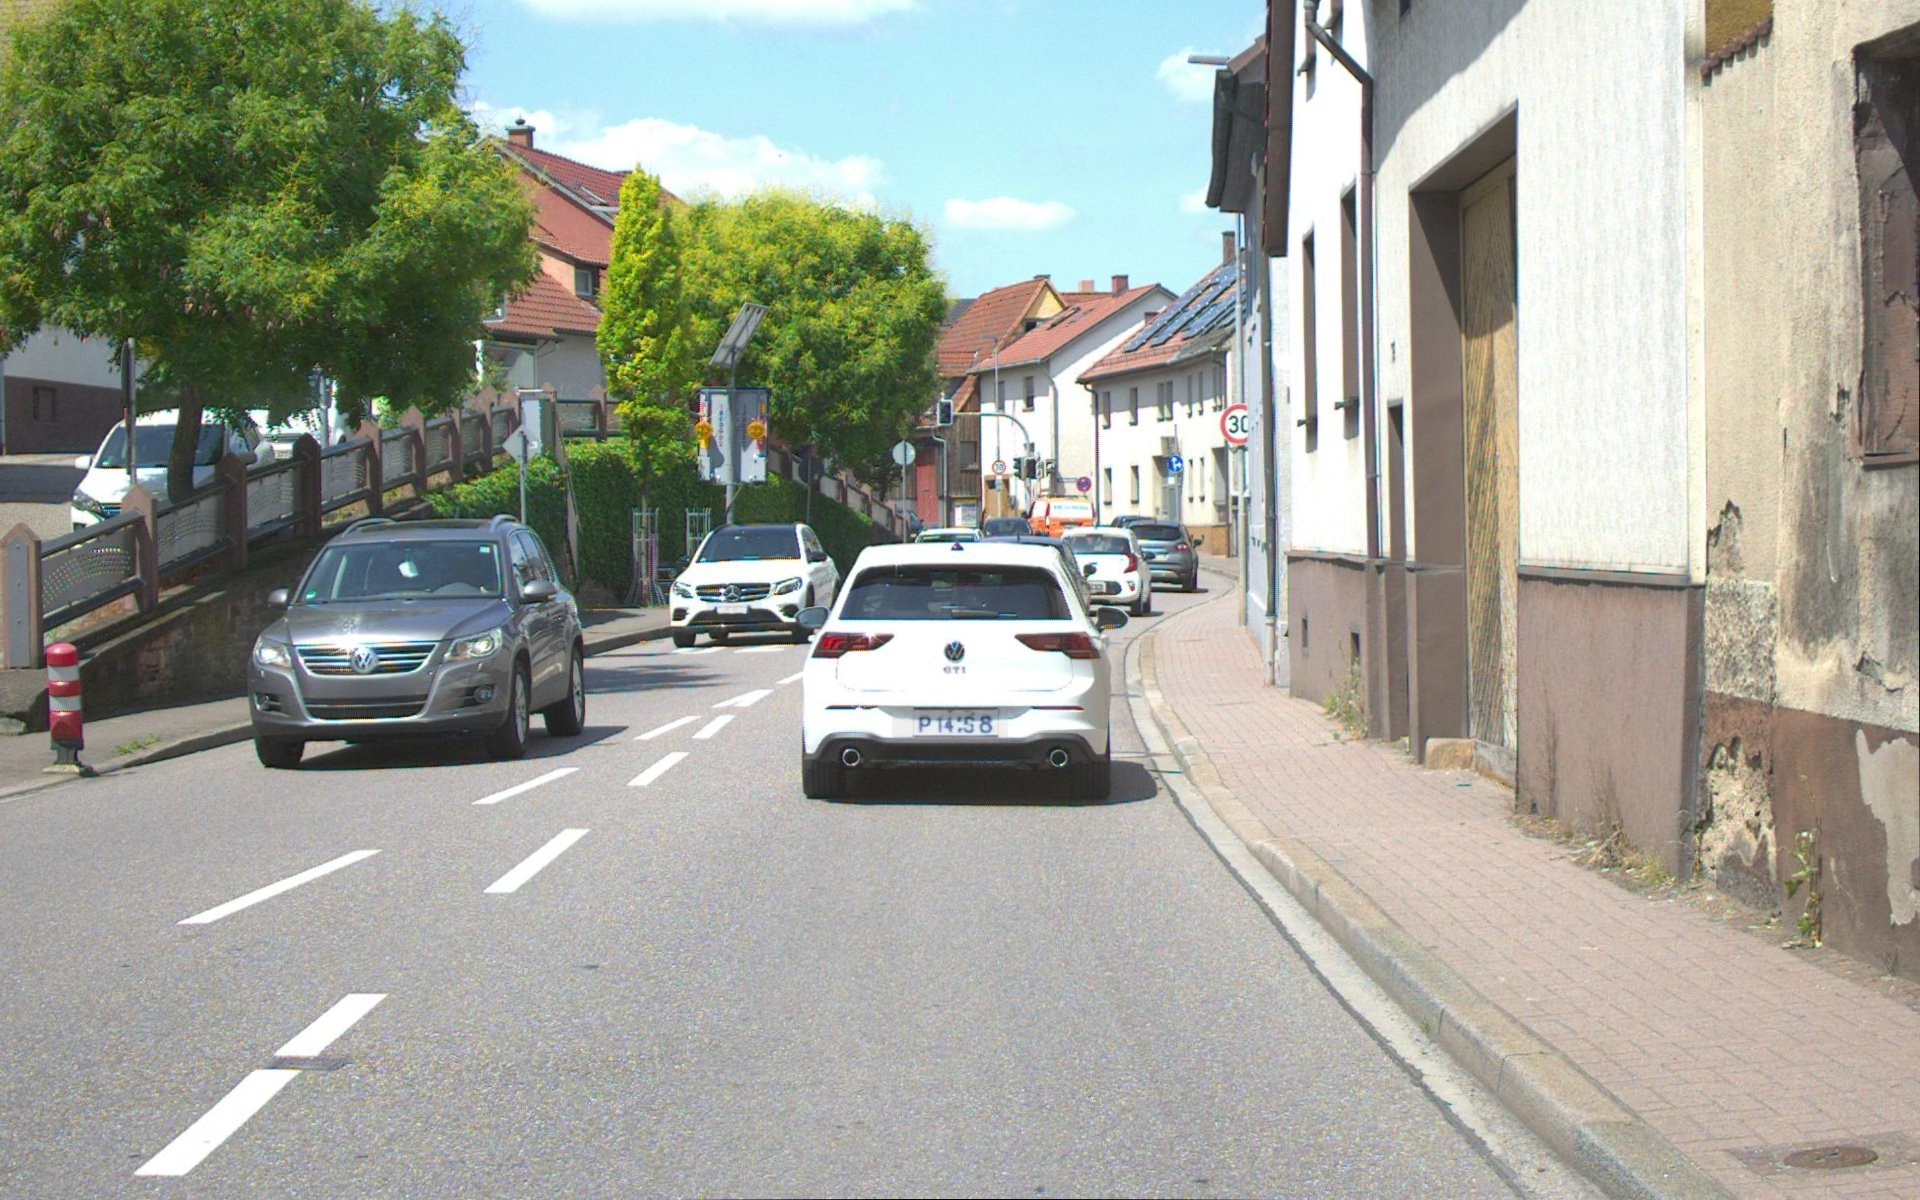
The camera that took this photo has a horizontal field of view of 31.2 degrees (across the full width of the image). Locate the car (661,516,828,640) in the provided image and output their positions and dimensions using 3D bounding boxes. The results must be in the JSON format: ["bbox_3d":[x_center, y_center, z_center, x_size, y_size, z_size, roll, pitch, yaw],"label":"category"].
[{"bbox_3d":[-2.935,-0.346,47.728,1.842,1.574,4.445,-2,1,2],"label":"car"}]

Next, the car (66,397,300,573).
[{"bbox_3d":[-8.359,-1.292,37.294,1.693,1.537,3.857,-1,7,-1],"label":"car"}]

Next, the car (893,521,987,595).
[{"bbox_3d":[-0.399,-0.912,73.055,1.813,1.442,4.430,-2,1,1],"label":"car"}]

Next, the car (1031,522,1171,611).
[{"bbox_3d":[2.455,-0.601,59.067,1.808,1.462,3.998,1,1,11],"label":"car"}]

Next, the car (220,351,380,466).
[{"bbox_3d":[-9.397,-2.769,49.179,1.576,1.357,3.857,-1,7,-1],"label":"car"}]

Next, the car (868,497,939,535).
[{"bbox_3d":[-2.153,-3.172,129.637,1.793,1.373,4.118,-1,2,-14],"label":"car"}]

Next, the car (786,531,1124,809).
[{"bbox_3d":[0.005,0.337,20.541,1.808,1.462,4.000,1,1,1],"label":"car"}]

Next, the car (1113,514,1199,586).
[{"bbox_3d":[4.443,-1.142,77.398,1.776,1.533,4.000,-1,2,5],"label":"car"}]

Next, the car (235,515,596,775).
[{"bbox_3d":[-3.758,0.243,24.409,1.758,1.629,4.049,-2,2,2],"label":"car"}]

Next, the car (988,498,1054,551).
[{"bbox_3d":[1.800,-2.213,100.504,1.617,1.439,3.801,-2,2,5],"label":"car"}]

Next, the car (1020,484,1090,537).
[{"bbox_3d":[3.235,-3.072,118.221,1.775,1.759,4.001,-1,2,-7],"label":"car"}]
